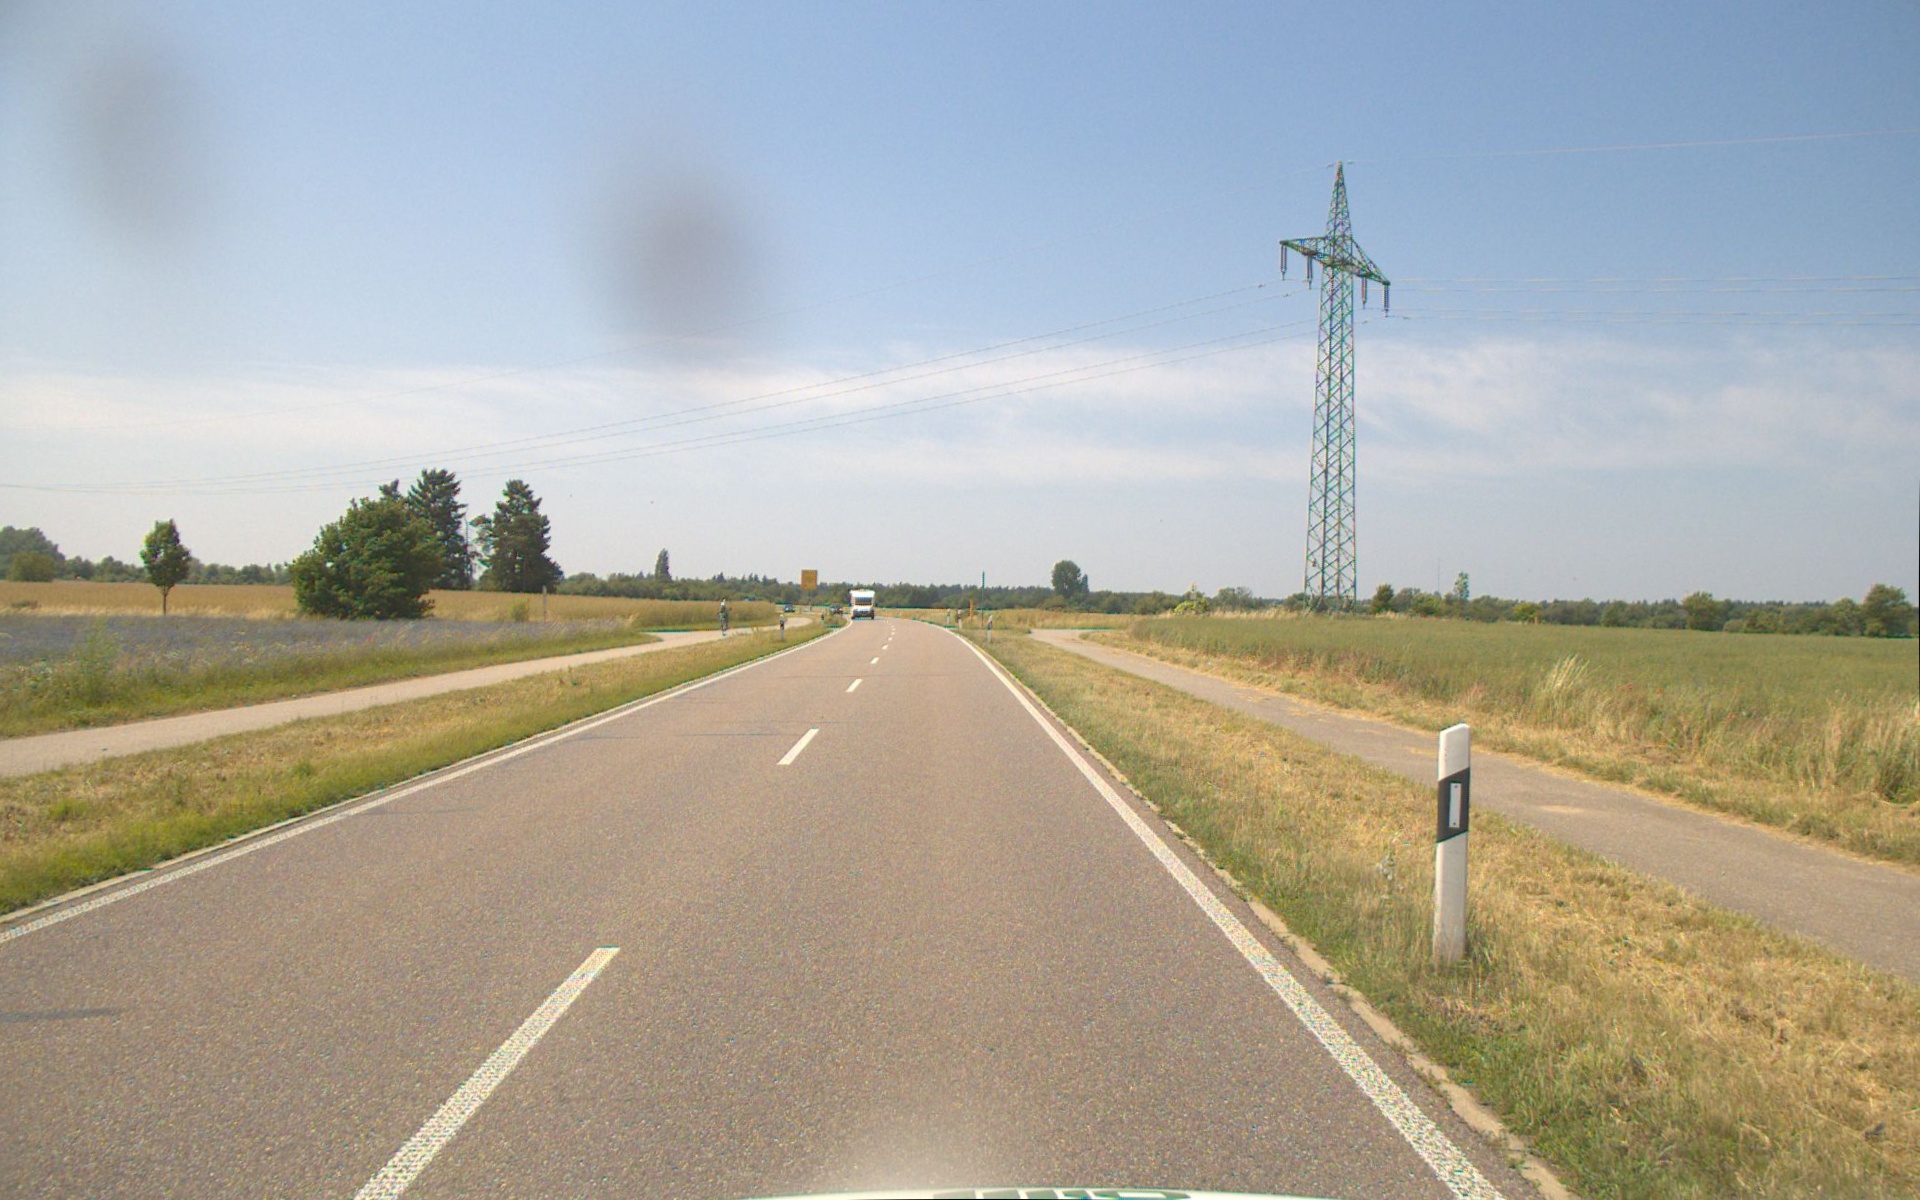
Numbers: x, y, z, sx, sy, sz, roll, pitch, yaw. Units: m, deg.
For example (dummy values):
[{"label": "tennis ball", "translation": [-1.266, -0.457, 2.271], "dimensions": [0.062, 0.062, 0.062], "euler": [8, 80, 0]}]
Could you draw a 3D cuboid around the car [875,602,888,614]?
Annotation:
[{"label": "car", "translation": [-9.734, 0.986, 204.899], "dimensions": [1.591, 1.517, 3.997], "euler": [1, 0, -3]}]

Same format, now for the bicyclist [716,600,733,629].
[{"label": "bicyclist", "translation": [-11.152, 0.682, 78.233], "dimensions": [0.687, 1.354, 0.965], "euler": [0, 0, -2]}]

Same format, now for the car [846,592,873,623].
[{"label": "car", "translation": [-9.679, 0.724, 159.721], "dimensions": [2.349, 2.896, 7.625], "euler": [1, 0, -2]}]

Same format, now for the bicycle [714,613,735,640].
[{"label": "bicycle", "translation": [-11.123, 1.228, 78.126], "dimensions": [0.747, 1.250, 2.215], "euler": [0, 0, -1]}]
